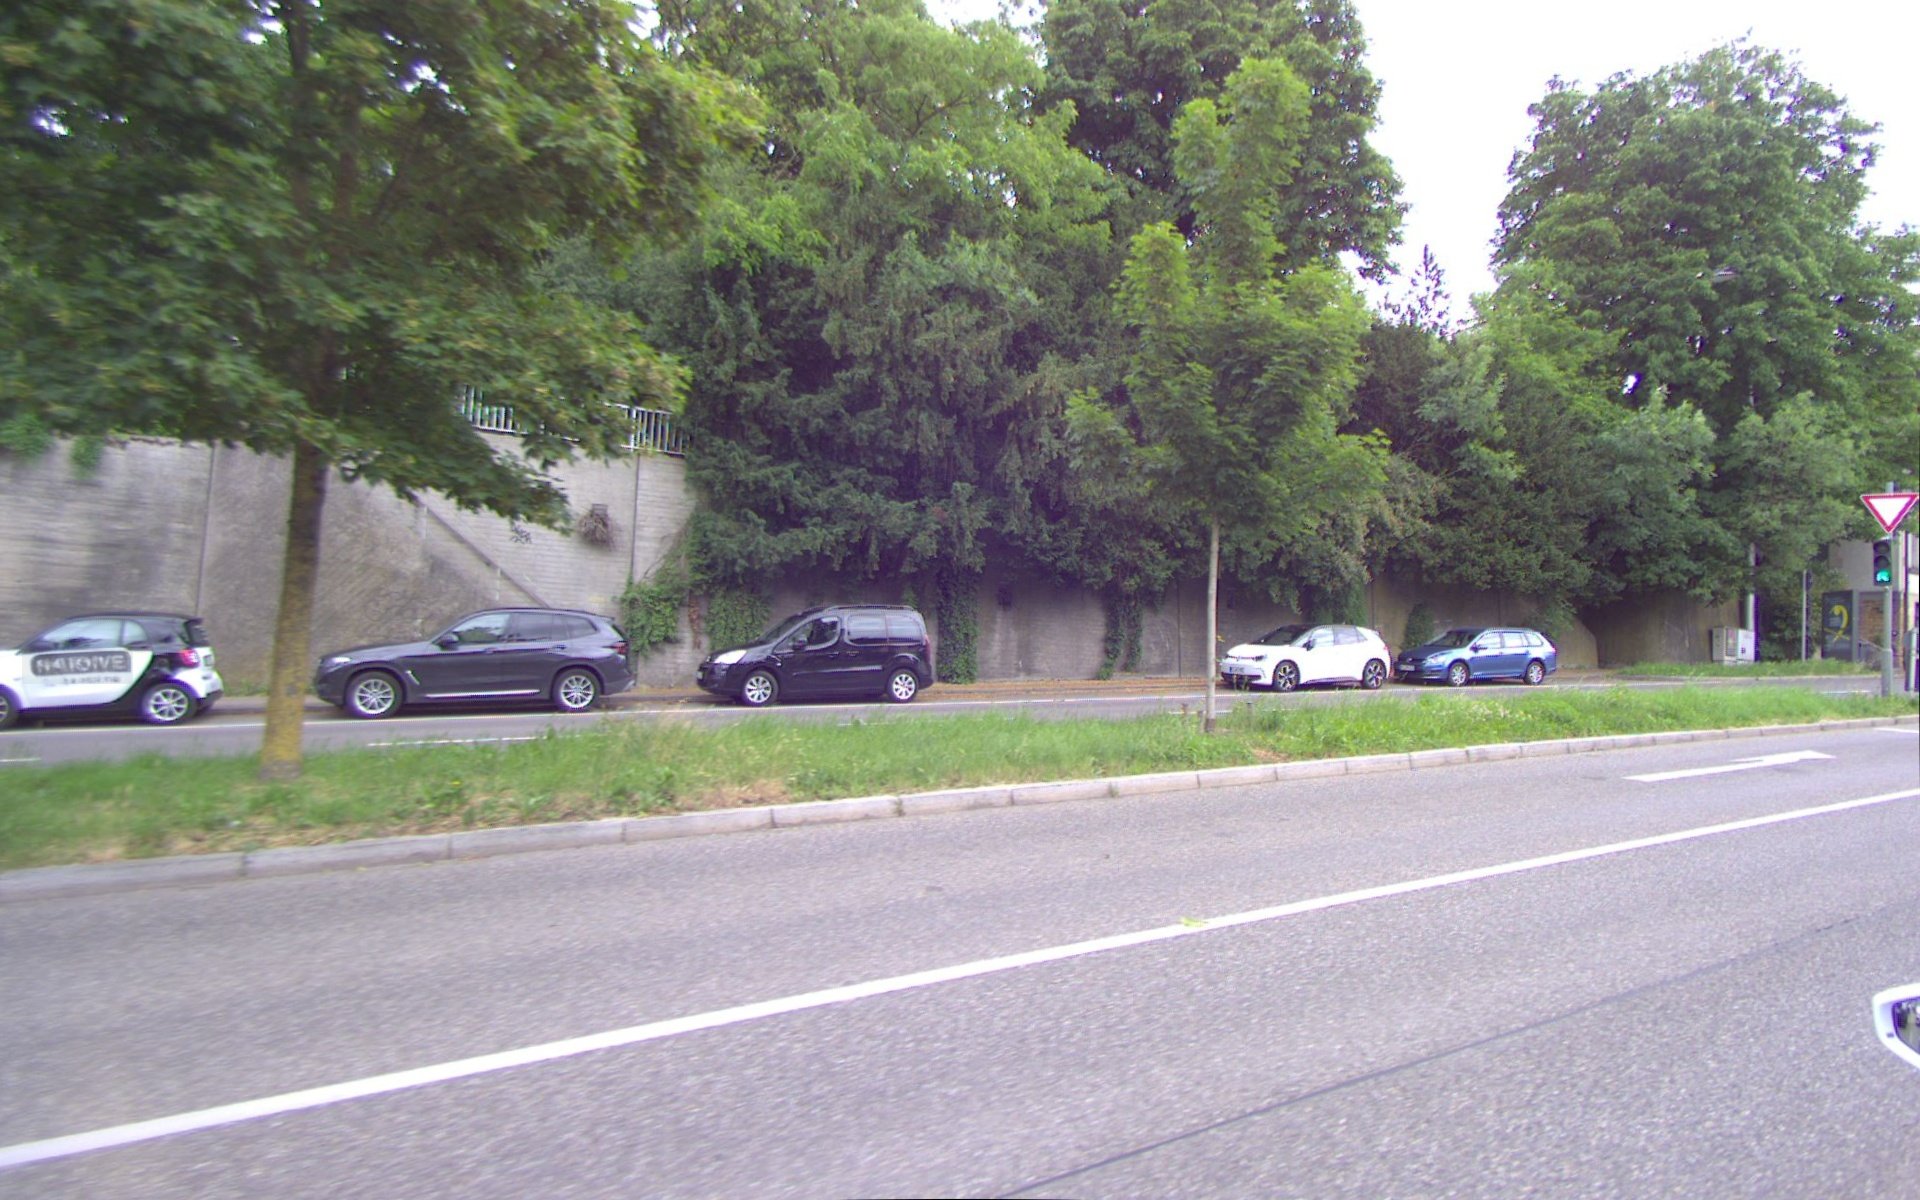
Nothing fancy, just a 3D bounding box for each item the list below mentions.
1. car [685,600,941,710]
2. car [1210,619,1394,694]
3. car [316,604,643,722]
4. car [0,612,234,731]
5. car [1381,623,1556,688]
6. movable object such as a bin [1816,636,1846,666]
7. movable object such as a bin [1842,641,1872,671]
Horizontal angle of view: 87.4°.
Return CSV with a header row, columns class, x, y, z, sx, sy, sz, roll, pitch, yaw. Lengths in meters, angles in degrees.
class,x,y,z,sx,sy,sz,roll,pitch,yaw
car,-2.737,0.955,18.867,4.429,1.867,1.774,1,0,-27
car,8.213,1.297,24.077,4.114,1.650,1.774,1,0,-25
car,-7.596,0.952,16.246,4.471,1.679,1.963,1,0,-26
car,-12.138,0.934,14.023,3.062,1.518,1.771,1,0,-31
car,13.265,1.399,26.183,4.238,1.549,1.709,1,0,-22
movable object such as a bin,31.780,1.854,36.645,0.636,1.032,0.578,3,-2,-16
movable object such as a bin,31.967,1.982,35.799,0.636,1.032,0.538,3,-2,-16
